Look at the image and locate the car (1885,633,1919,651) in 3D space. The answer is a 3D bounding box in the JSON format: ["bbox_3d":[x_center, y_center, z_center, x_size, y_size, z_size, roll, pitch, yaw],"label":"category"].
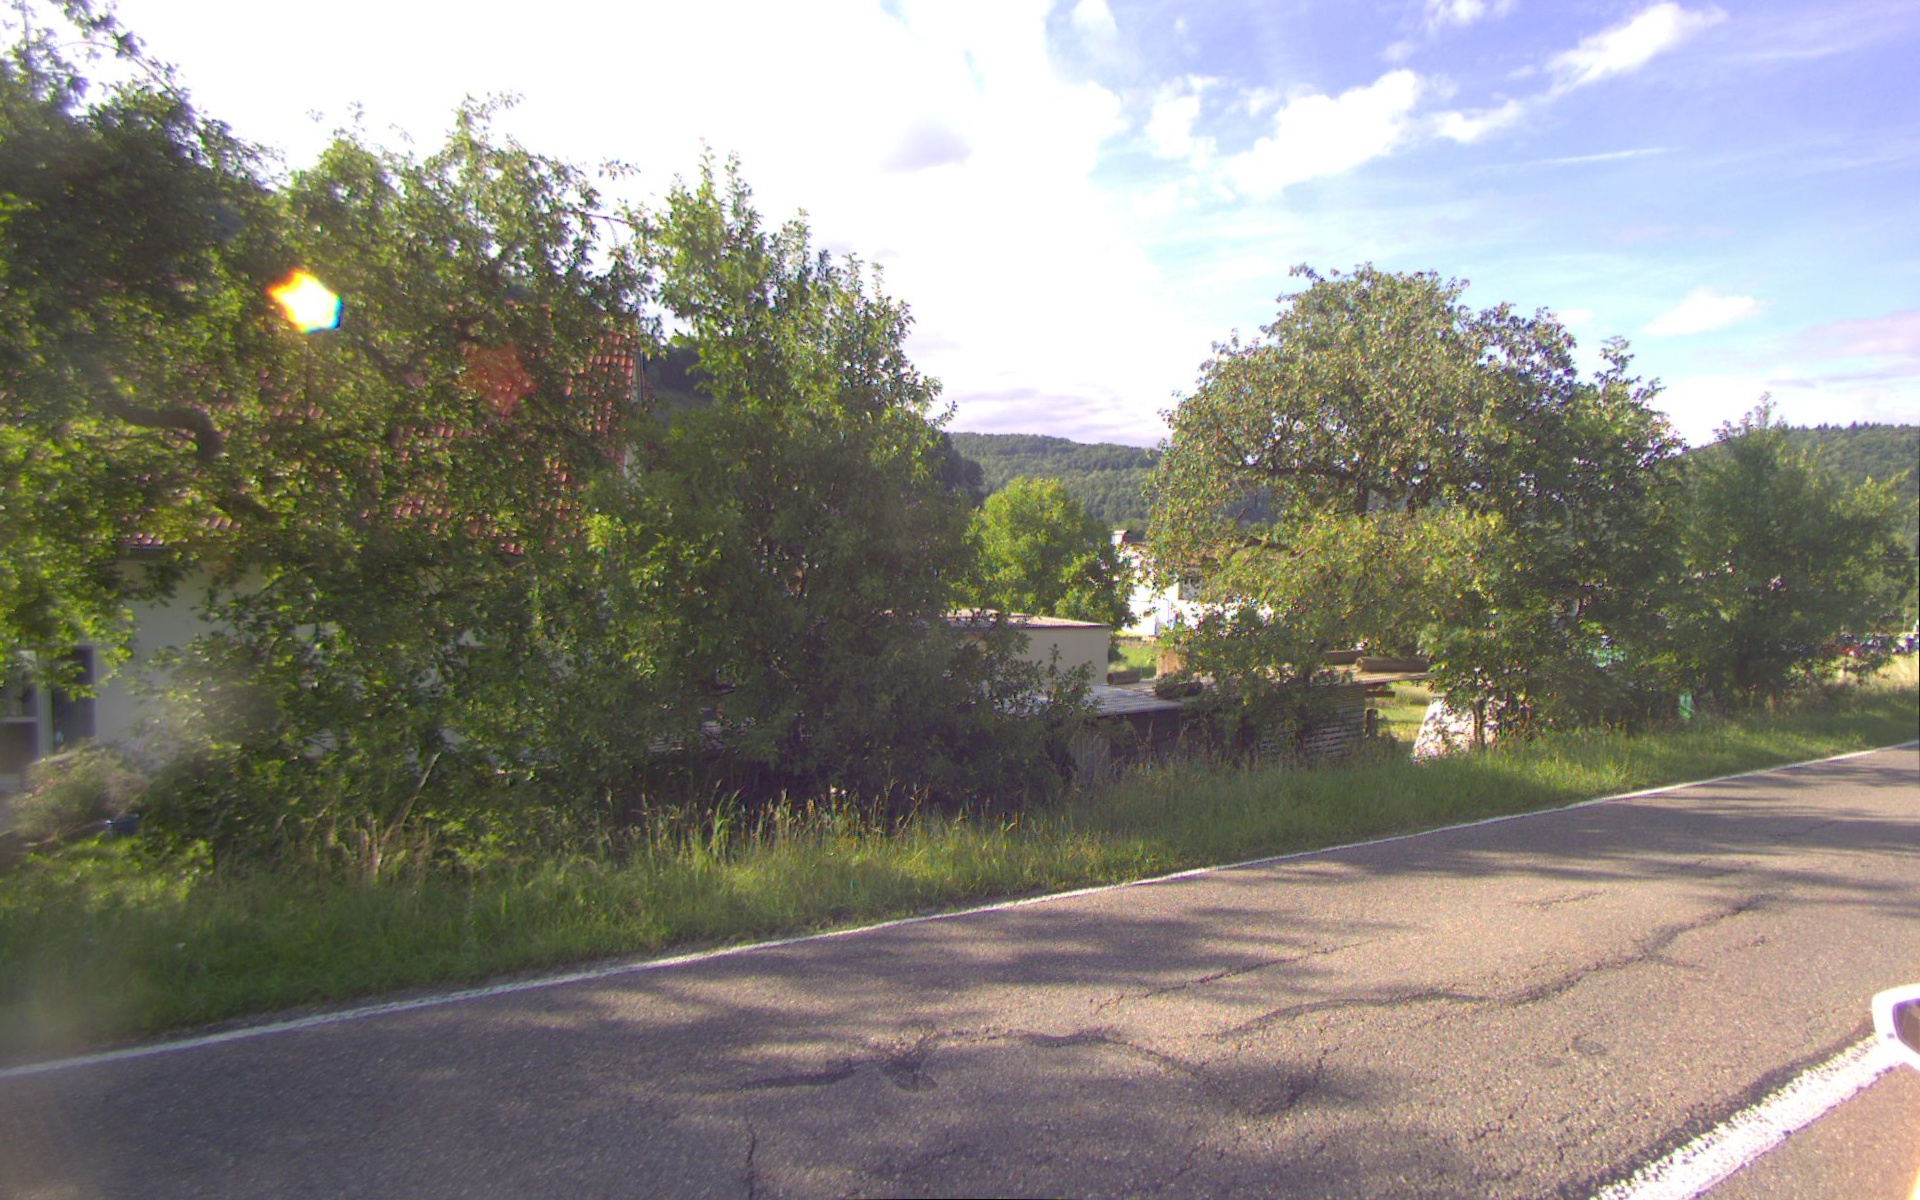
[{"bbox_3d":[88.032,3.927,92.437,1.762,1.574,3.966,2,0,-31],"label":"car"}]

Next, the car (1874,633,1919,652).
[{"bbox_3d":[85.853,3.849,91.144,1.762,1.574,3.966,2,0,-31],"label":"car"}]

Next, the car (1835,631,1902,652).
[{"bbox_3d":[78.020,3.567,86.325,1.762,1.574,3.966,2,0,-31],"label":"car"}]

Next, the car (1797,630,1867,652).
[{"bbox_3d":[71.068,3.316,81.879,1.762,1.574,3.966,2,0,-31],"label":"car"}]

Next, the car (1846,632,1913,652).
[{"bbox_3d":[80.610,3.662,88.108,1.762,1.574,3.966,2,0,-31],"label":"car"}]
